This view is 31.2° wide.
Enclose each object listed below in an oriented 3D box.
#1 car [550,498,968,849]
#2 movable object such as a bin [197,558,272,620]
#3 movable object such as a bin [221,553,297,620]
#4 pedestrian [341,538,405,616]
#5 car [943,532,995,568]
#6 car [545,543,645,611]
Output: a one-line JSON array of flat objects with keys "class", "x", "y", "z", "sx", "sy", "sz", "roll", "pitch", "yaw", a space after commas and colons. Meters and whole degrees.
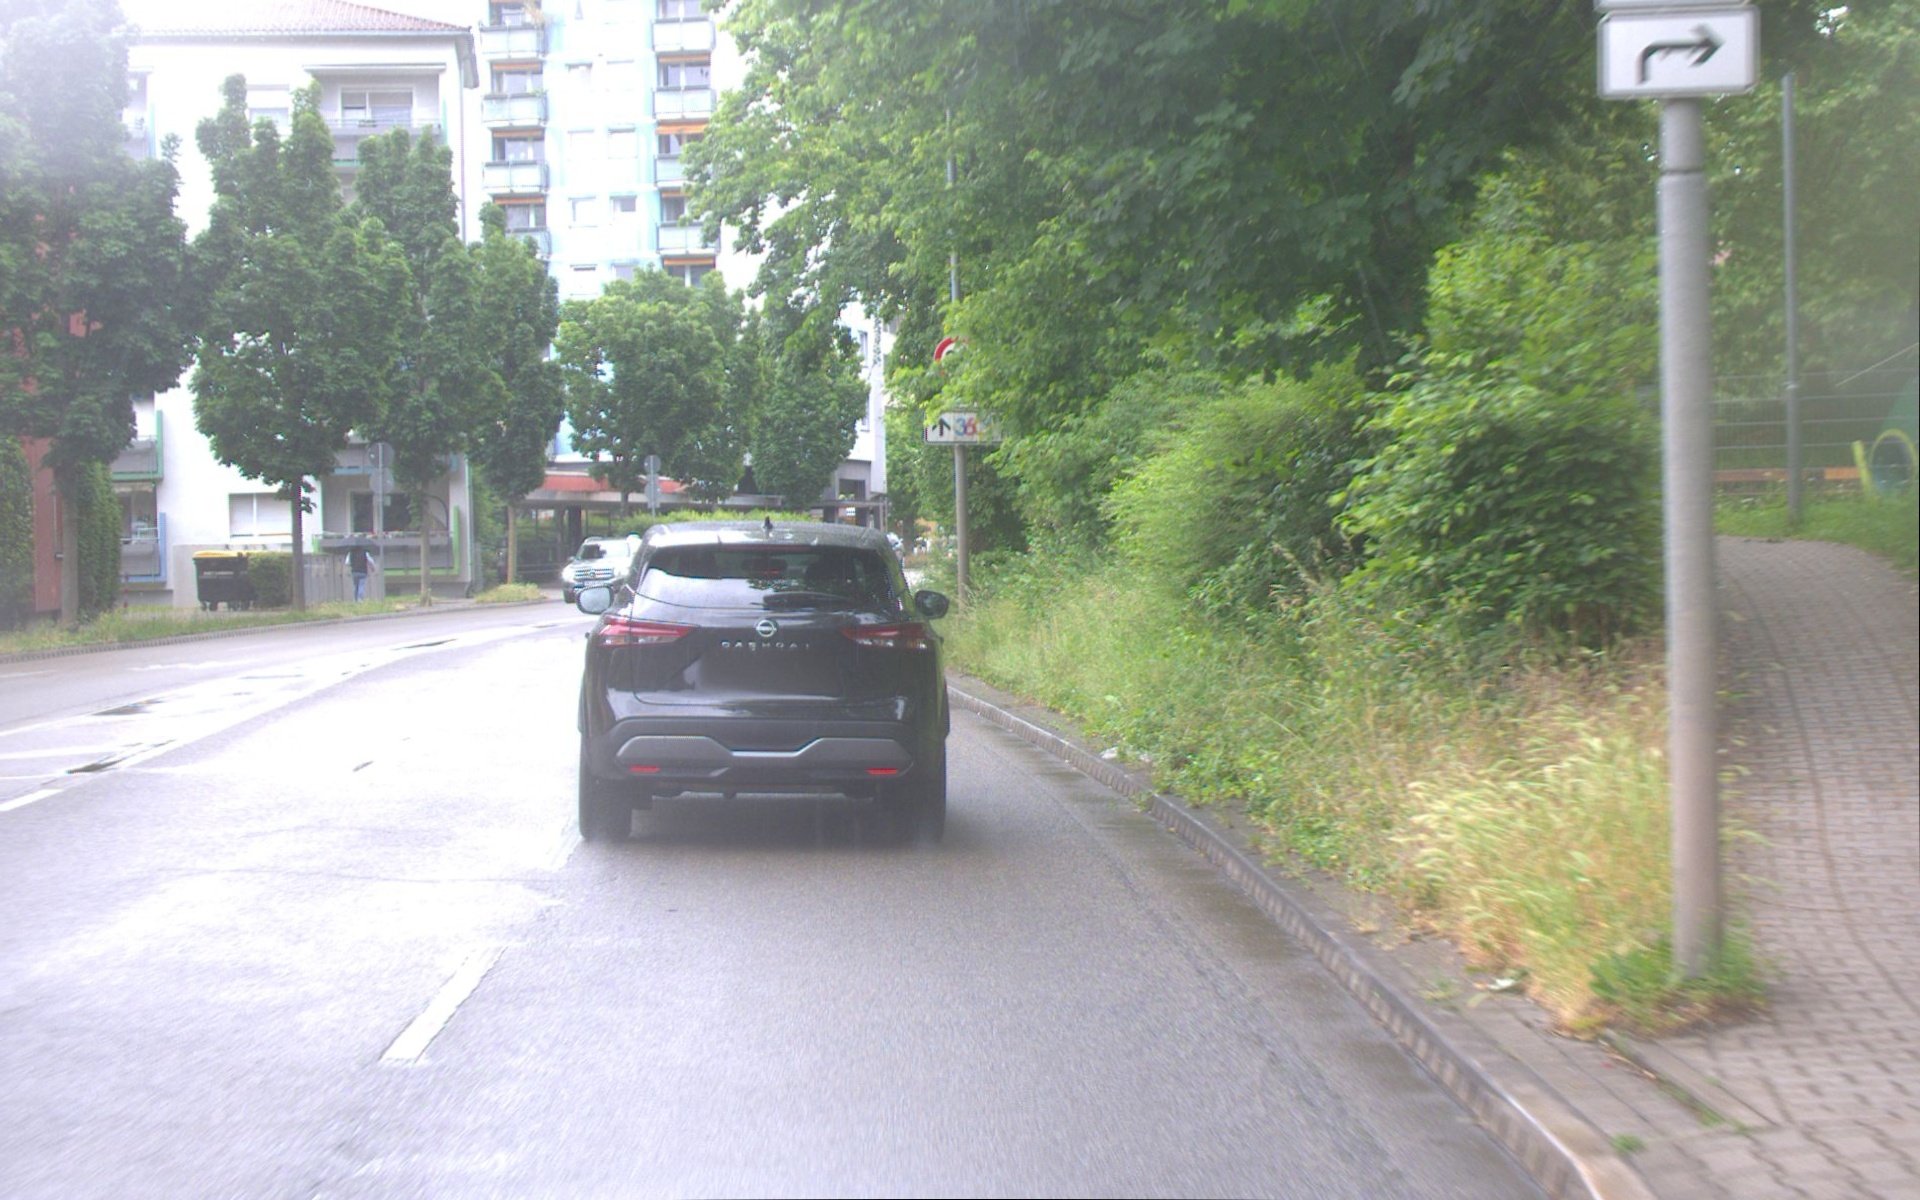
[{"class": "car", "x": -1.031, "y": 0.315, "z": 18.285, "sx": 1.959, "sy": 1.647, "sz": 4.001, "roll": 1, "pitch": 1, "yaw": -2}, {"class": "movable object such as a bin", "x": -16.249, "y": -0.255, "z": 77.073, "sx": 1.157, "sy": 1.327, "sz": 1.966, "roll": -2, "pitch": 1, "yaw": 3}, {"class": "movable object such as a bin", "x": -16.148, "y": -0.323, "z": 79.249, "sx": 1.215, "sy": 1.479, "sz": 2.087, "roll": -2, "pitch": 1, "yaw": 3}, {"class": "pedestrian", "x": -13.778, "y": -0.546, "z": 80.742, "sx": 1.134, "sy": 1.797, "sz": 1.263, "roll": -1, "pitch": 1, "yaw": 5}, {"class": "car", "x": 0.389, "y": -2.071, "z": 141.390, "sx": 1.841, "sy": 1.380, "sz": 4.360, "roll": -3, "pitch": 1, "yaw": 3}, {"class": "car", "x": -9.517, "y": -0.618, "z": 89.934, "sx": 1.922, "sy": 1.625, "sz": 4.501, "roll": -3, "pitch": 1, "yaw": 1}]
